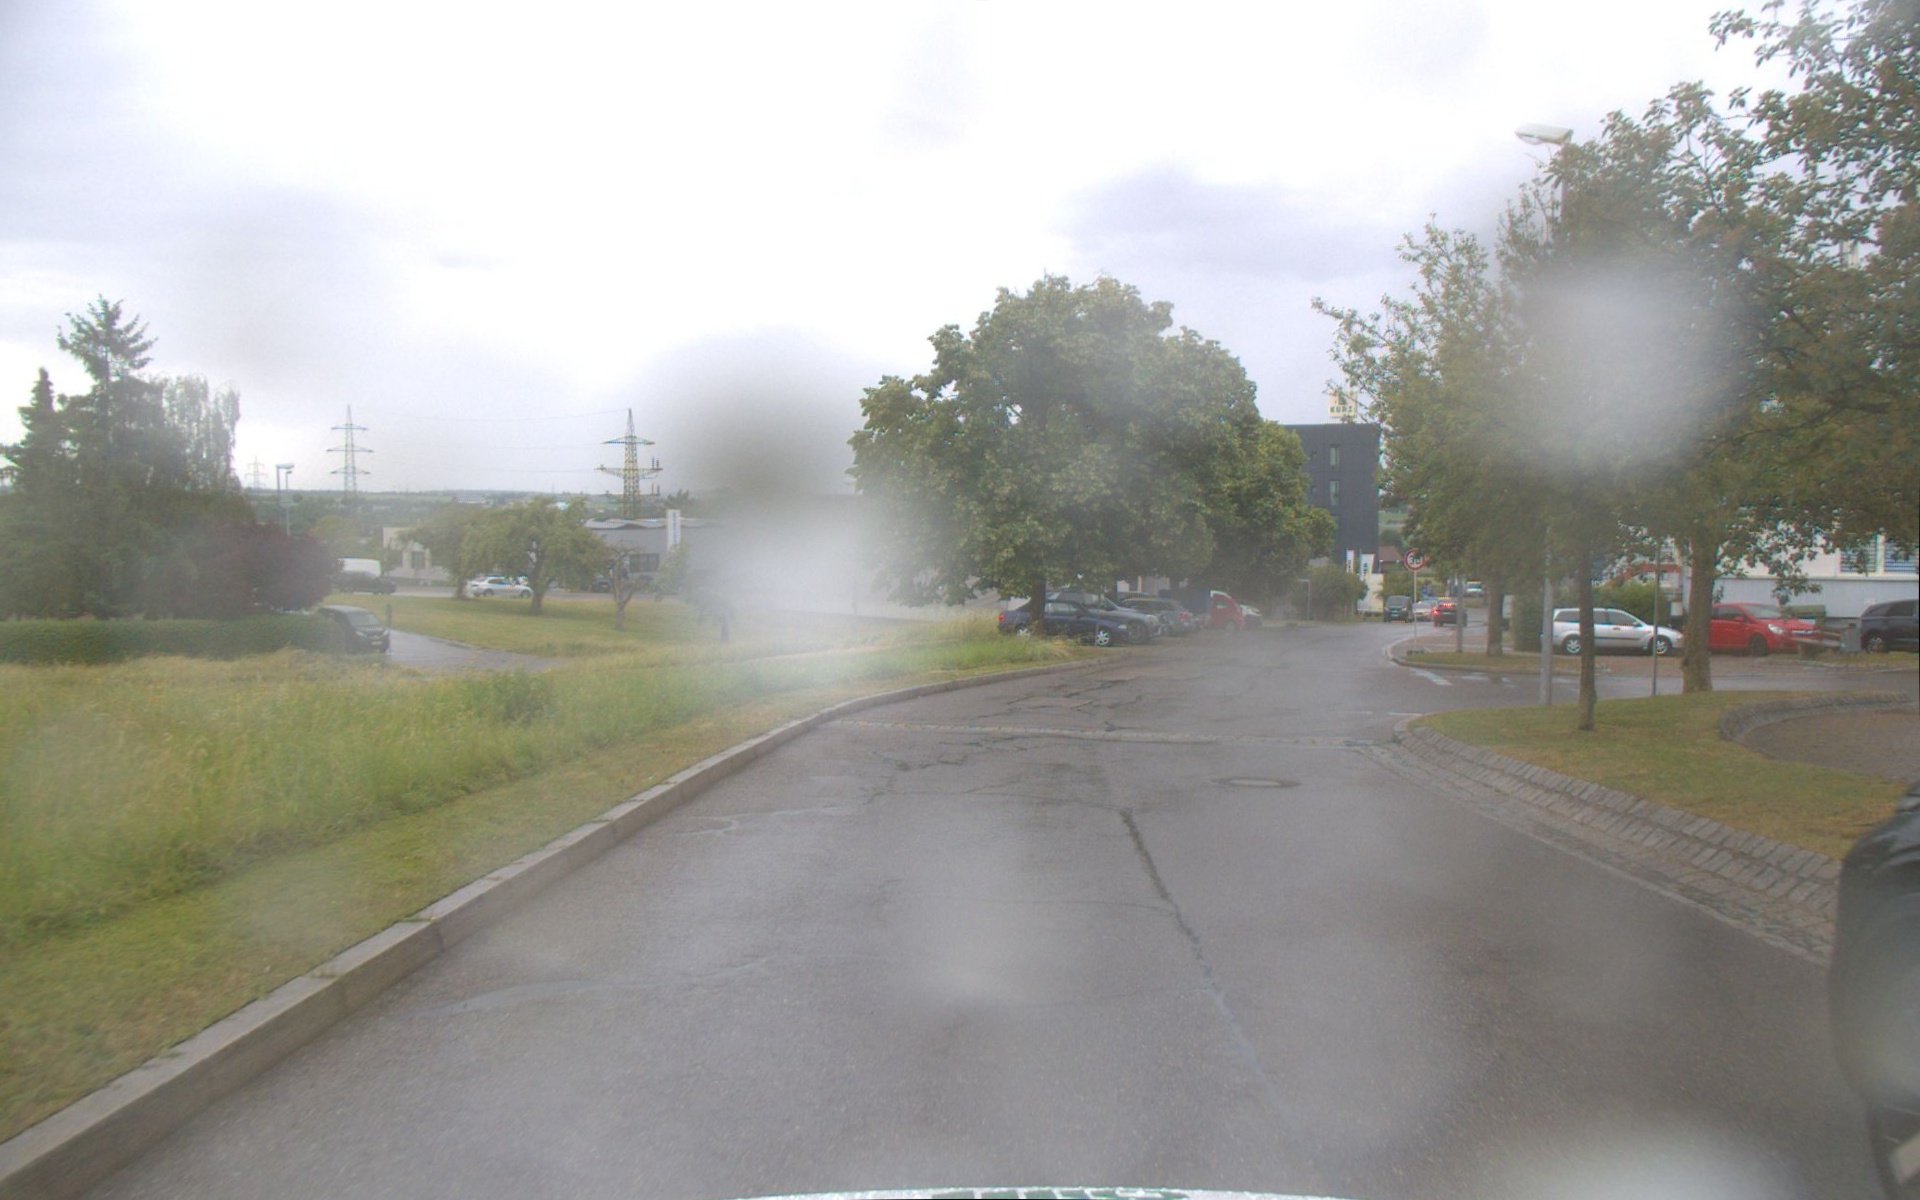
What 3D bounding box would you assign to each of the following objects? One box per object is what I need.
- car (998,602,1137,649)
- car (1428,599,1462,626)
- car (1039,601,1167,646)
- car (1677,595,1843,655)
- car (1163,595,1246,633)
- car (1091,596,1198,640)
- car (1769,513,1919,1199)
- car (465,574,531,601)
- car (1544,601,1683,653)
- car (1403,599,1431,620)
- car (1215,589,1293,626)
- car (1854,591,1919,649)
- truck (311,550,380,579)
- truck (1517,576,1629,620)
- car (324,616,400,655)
[{"bbox_3d":[3.369,0.781,51.647,4.076,1.379,1.864,-1,0,13],"label":"car"},{"bbox_3d":[31.152,0.764,106.205,1.652,1.579,3.697,2,2,22],"label":"car"},{"bbox_3d":[4.674,0.755,53.840,3.902,1.384,1.856,-1,0,13],"label":"car"},{"bbox_3d":[21.100,0.641,43.793,1.841,1.501,3.961,-1,0,-14],"label":"car"},{"bbox_3d":[10.974,0.611,74.133,3.486,1.634,1.694,-1,0,16],"label":"car"},{"bbox_3d":[6.867,0.666,61.486,3.787,1.574,1.775,0,0,12],"label":"car"},{"bbox_3d":[3.202,0.684,2.399,1.772,1.733,4.598,1,0,0],"label":"car"},{"bbox_3d":[-33.445,-0.897,119.725,4.236,1.731,1.772,2,2,-40],"label":"car"},{"bbox_3d":[20.968,0.876,53.234,4.008,1.594,2.001,-1,0,18],"label":"car"},{"bbox_3d":[36.096,0.752,130.547,1.836,1.625,4.001,-1,0,19],"label":"car"},{"bbox_3d":[15.472,0.402,86.939,3.902,1.842,2.002,-1,0,13],"label":"car"},{"bbox_3d":[24.775,0.493,41.486,1.784,1.442,3.910,-1,0,-23],"label":"car"},{"bbox_3d":[-54.934,-3.172,147.856,5.278,2.349,2.401,1,2,-40],"label":"truck"},{"bbox_3d":[41.490,-0.117,111.952,6.732,2.774,2.640,-1,0,30],"label":"truck"},{"bbox_3d":[-27.192,1.587,75.196,3.933,1.624,1.769,2,1,45],"label":"car"}]
